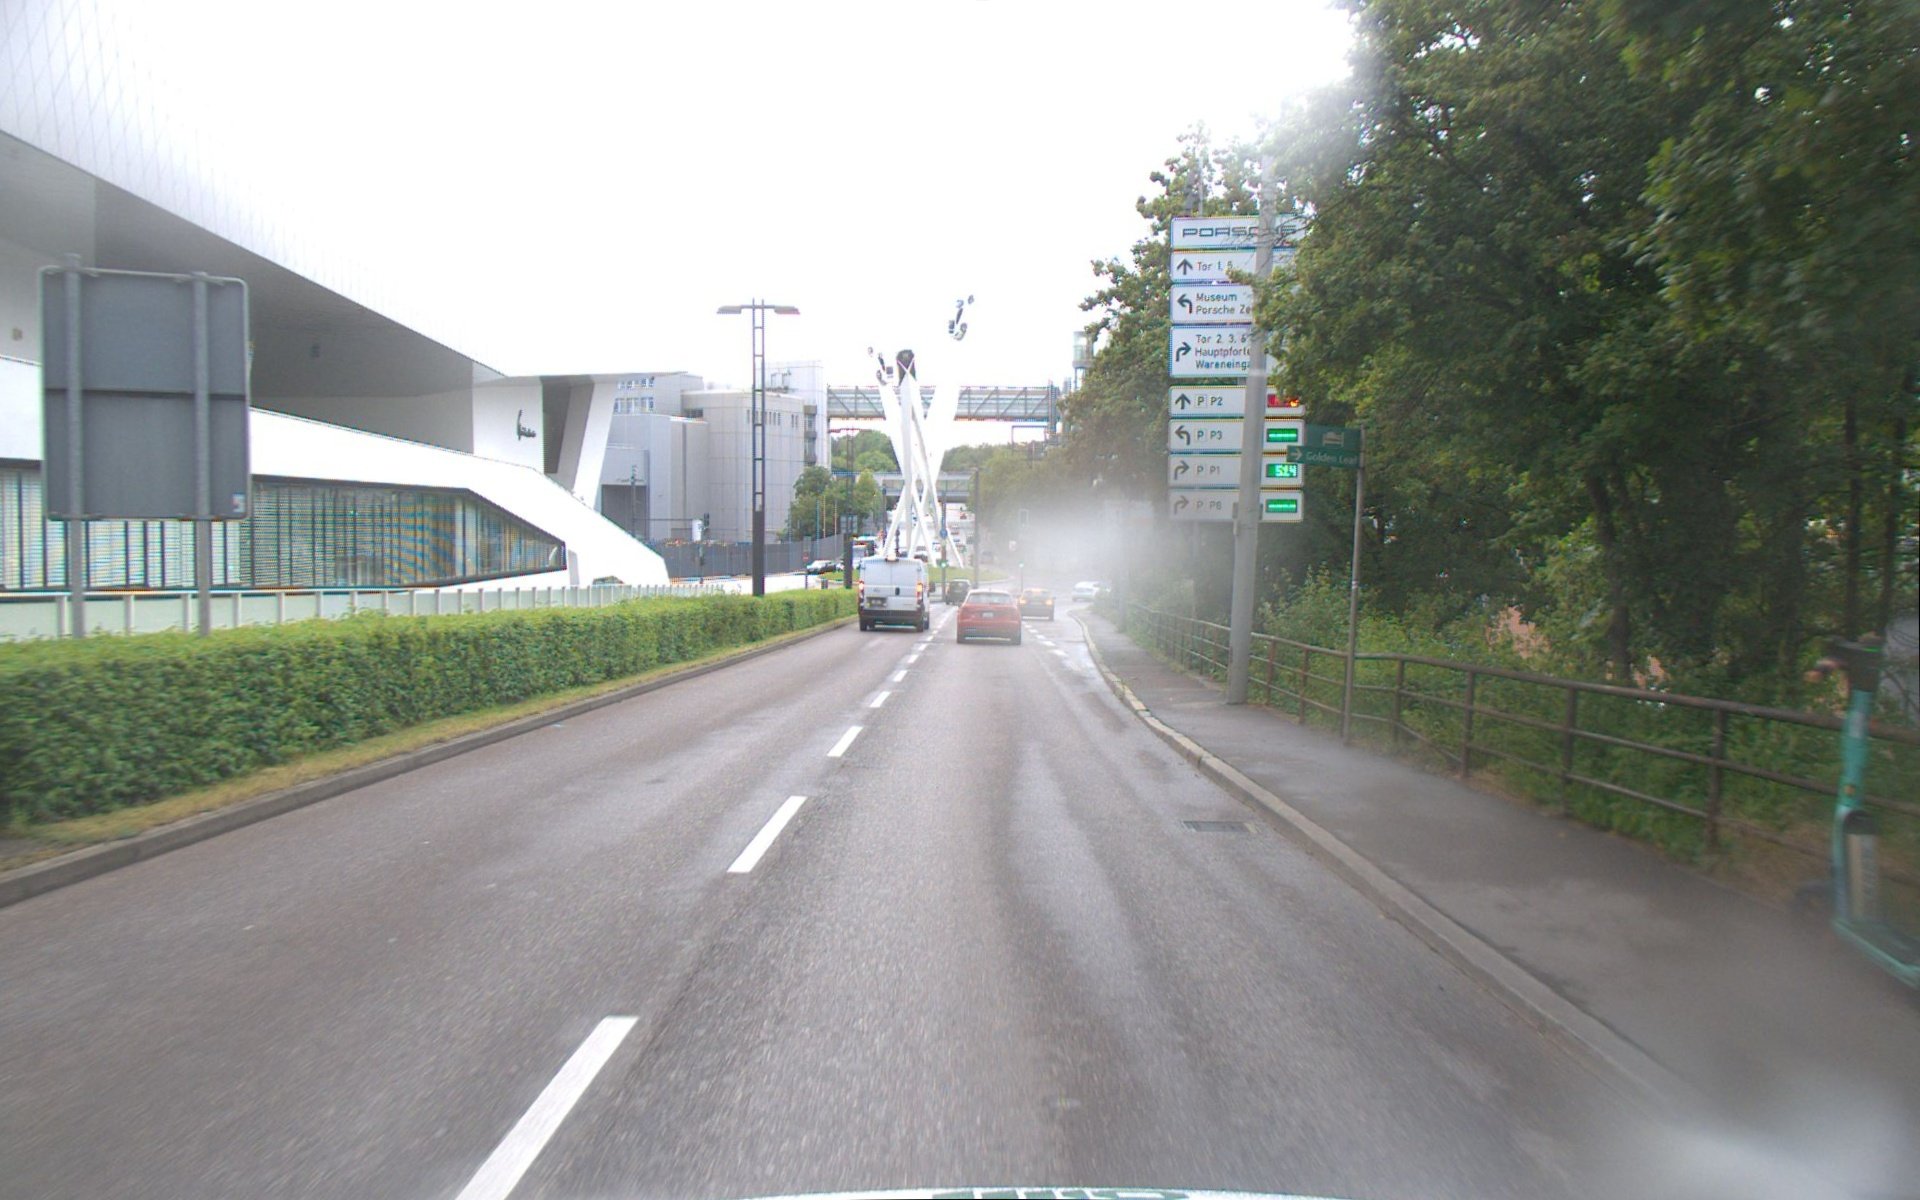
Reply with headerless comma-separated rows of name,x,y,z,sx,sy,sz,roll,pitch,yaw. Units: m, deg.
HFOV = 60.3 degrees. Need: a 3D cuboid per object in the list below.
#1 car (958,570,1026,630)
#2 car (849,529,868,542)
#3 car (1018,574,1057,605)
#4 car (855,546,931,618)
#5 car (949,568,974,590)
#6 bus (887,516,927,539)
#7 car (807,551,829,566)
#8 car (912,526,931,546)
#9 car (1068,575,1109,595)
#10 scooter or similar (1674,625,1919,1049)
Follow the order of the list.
car,0.844,-0.029,44.712,1.736,1.490,3.733,1,1,0
car,-11.956,-7.676,195.620,1.795,1.497,4.516,1,2,2
car,3.486,-0.493,74.845,1.577,1.313,3.567,1,1,0
car,-2.080,-0.602,52.575,2.187,2.144,4.955,1,1,0
car,0.119,-1.357,103.901,1.525,1.310,3.414,1,1,0
bus,-7.595,-10.490,240.337,2.612,3.256,12.683,2,3,13
car,-15.082,-4.459,175.862,1.795,1.497,4.516,1,2,2
car,-4.778,-8.006,206.498,1.952,2.489,5.430,1,2,2
car,9.295,-1.093,119.379,1.634,1.323,3.883,2,1,25
scooter or similar,3.291,0.763,6.061,0.526,1.253,1.844,1,1,0
